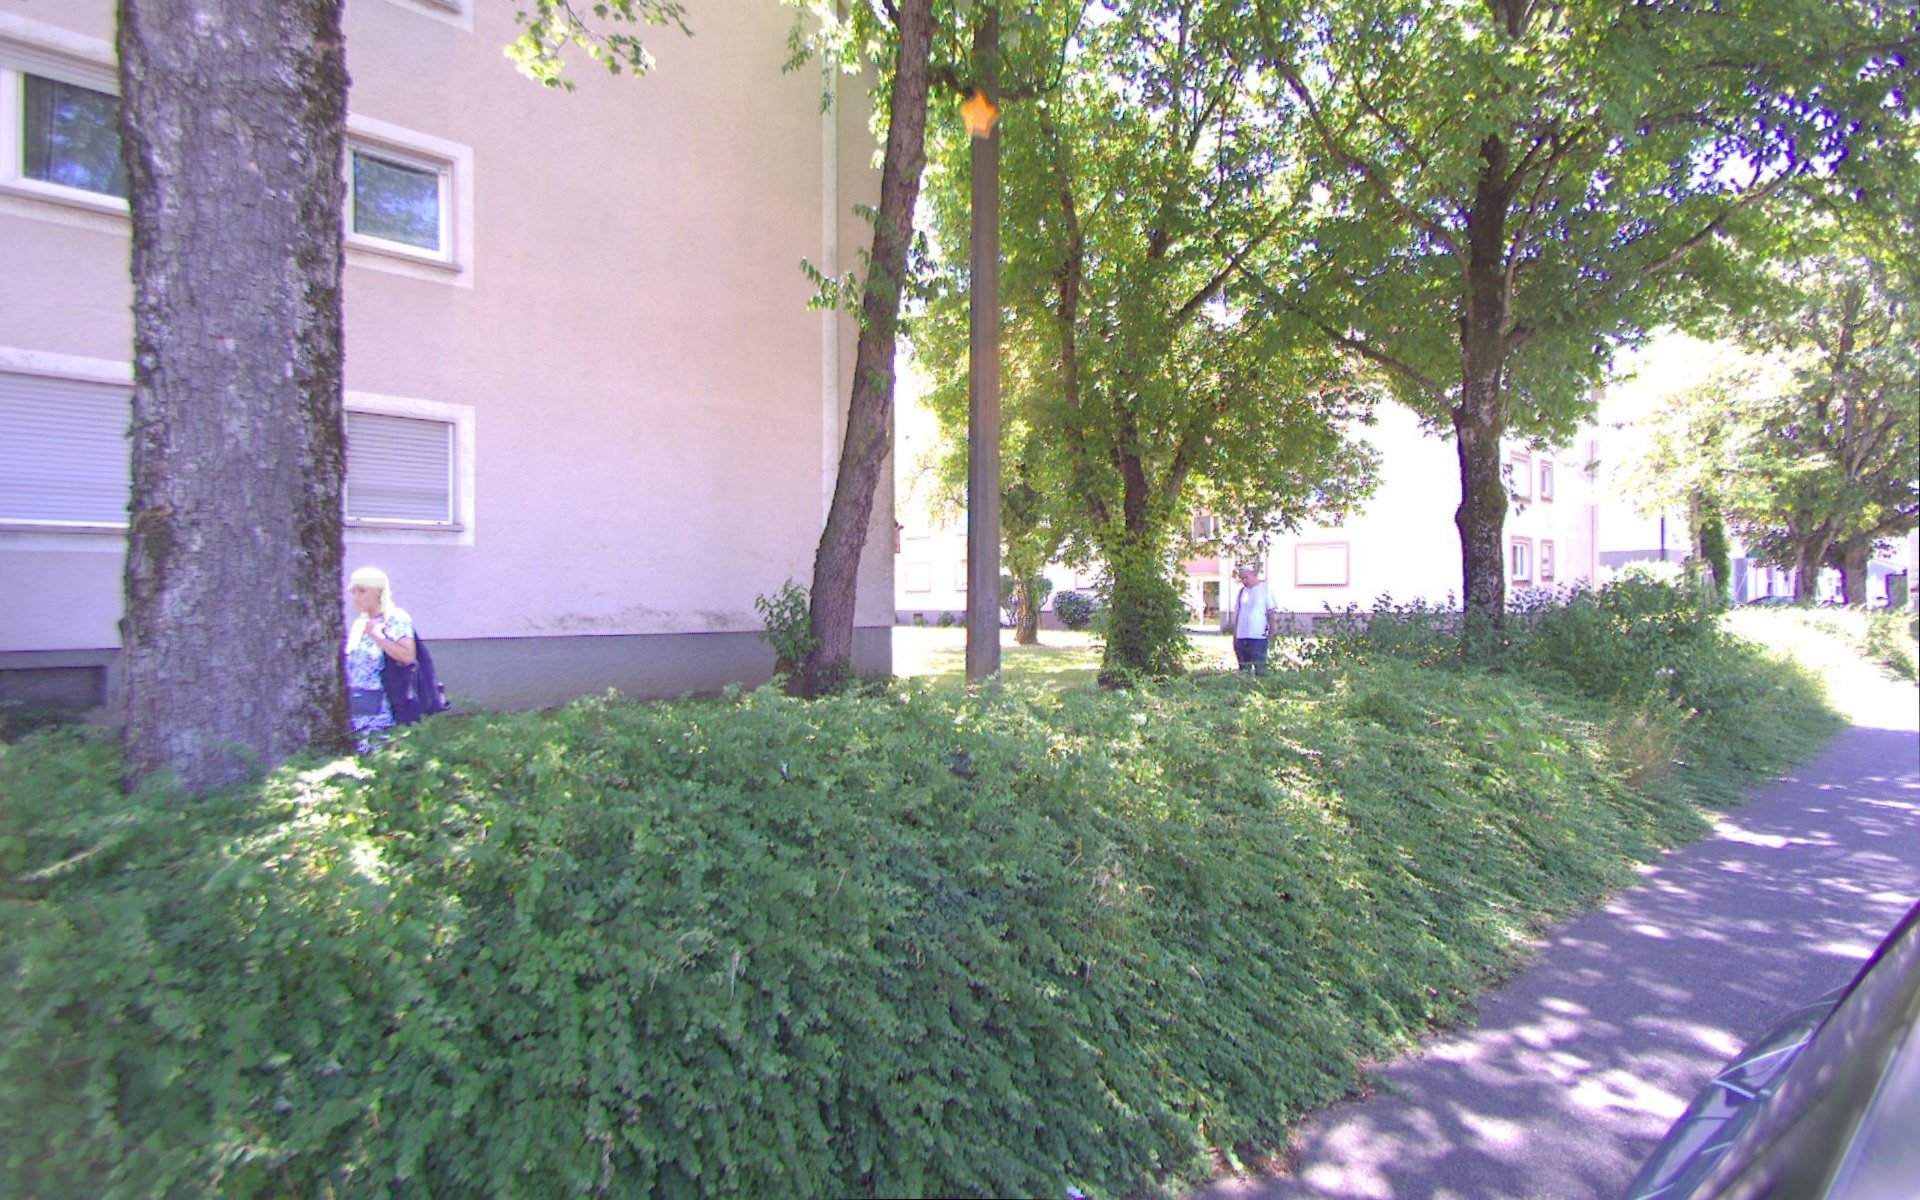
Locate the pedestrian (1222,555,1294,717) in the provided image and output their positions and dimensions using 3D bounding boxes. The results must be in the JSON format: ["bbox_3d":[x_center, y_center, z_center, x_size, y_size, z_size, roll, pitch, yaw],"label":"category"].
[{"bbox_3d":[3.670,0.424,12.431,0.667,1.897,0.894,-1,0,27],"label":"pedestrian"}]

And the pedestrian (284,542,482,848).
[{"bbox_3d":[-3.433,0.506,6.036,0.717,1.654,0.839,0,0,41],"label":"pedestrian"}]
